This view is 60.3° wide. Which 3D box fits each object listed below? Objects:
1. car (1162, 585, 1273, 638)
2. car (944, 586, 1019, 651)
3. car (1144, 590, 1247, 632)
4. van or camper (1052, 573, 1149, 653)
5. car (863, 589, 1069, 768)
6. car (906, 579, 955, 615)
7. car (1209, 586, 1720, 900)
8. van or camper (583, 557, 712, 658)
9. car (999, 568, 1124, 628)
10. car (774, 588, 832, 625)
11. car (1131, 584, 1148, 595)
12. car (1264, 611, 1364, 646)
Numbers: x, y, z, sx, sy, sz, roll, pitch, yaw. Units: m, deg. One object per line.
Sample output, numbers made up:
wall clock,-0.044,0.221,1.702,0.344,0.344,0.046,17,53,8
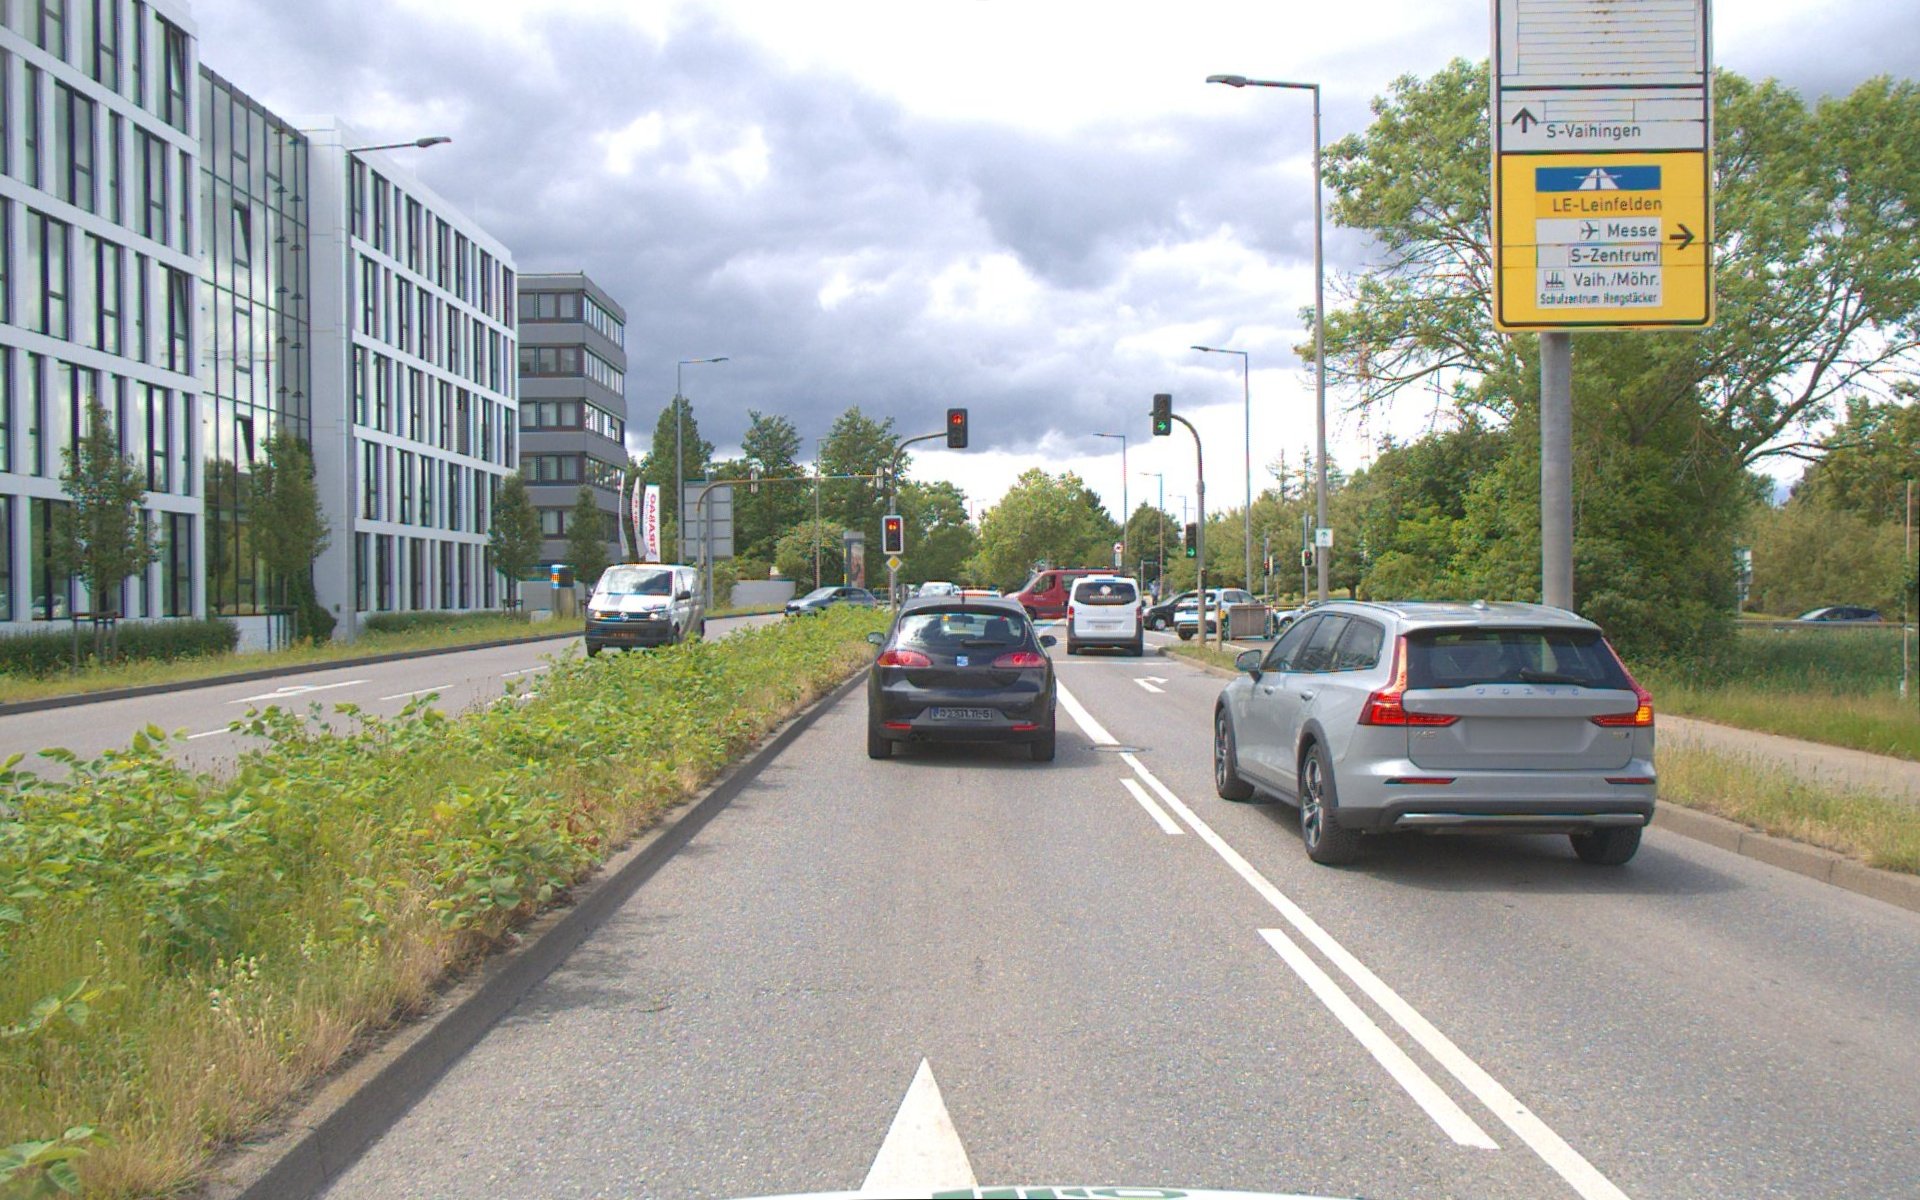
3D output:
car,8.207,0.336,52.521,1.959,1.624,3.986,0,0,35
car,0.498,0.433,41.601,1.737,1.517,3.581,-1,0,-1
car,9.306,0.424,65.576,3.903,1.624,2.001,0,1,3
van or camper,3.450,0.288,41.581,1.953,1.892,4.943,0,0,-1
car,0.073,0.657,15.861,1.736,1.477,3.582,1,1,1
car,-1.336,-0.154,77.321,1.952,1.624,4.002,0,1,4
car,2.875,0.697,10.536,1.825,1.545,4.446,-1,1,-1
van or camper,-6.756,0.138,36.228,1.953,2.049,4.815,0,0,-1
car,4.295,-0.091,70.503,5.120,2.454,1.998,0,0,-4
car,-6.147,0.240,65.310,1.893,1.422,4.000,0,1,0
car,23.042,-1.326,212.456,1.951,1.375,4.004,1,1,9
car,15.046,1.202,70.409,3.903,1.378,2.001,0,1,3
